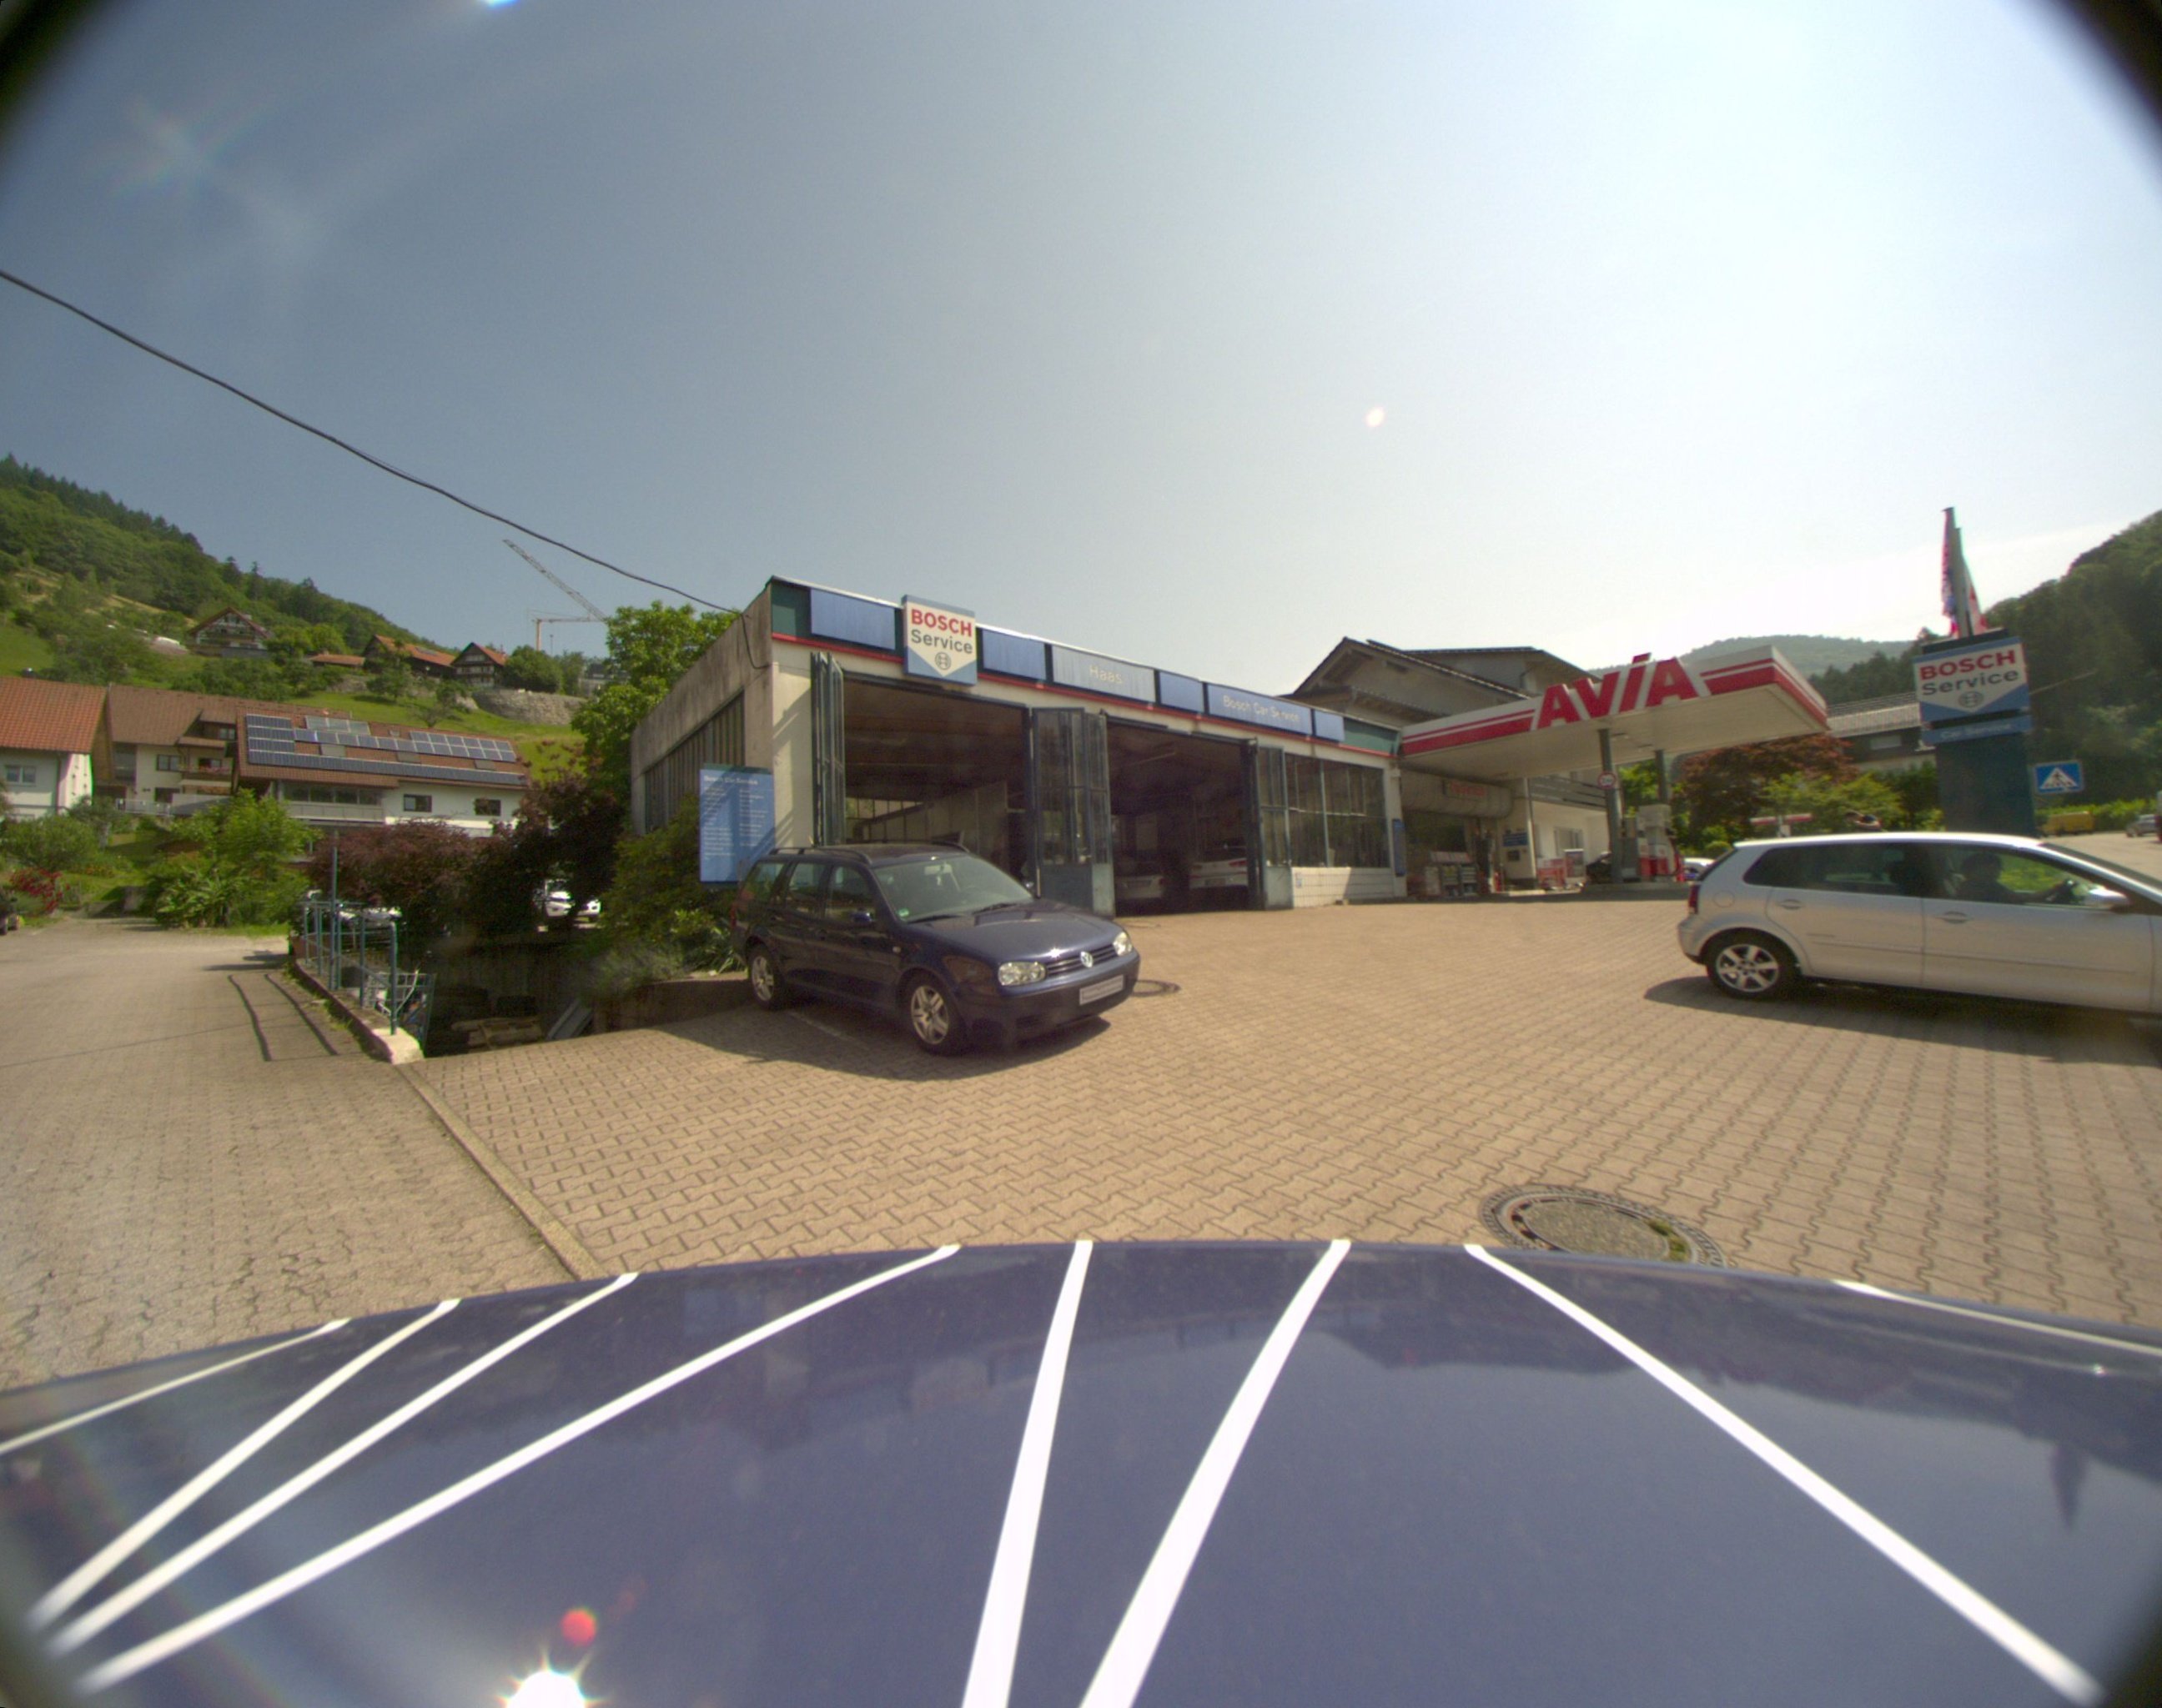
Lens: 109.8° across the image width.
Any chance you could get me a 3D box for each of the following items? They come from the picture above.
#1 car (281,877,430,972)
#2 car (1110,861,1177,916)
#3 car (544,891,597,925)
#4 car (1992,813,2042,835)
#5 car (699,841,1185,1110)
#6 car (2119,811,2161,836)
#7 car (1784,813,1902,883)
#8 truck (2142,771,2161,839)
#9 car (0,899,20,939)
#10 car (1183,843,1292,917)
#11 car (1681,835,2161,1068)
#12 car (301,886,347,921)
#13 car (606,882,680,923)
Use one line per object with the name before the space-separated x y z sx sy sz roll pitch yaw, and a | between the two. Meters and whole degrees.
car | -15.674 1.367 16.312 4.864 1.635 2.004 -2 1 43
car | 1.853 1.015 21.674 1.546 1.397 3.483 -3 -4 9
car | -21.098 2.186 31.355 1.471 1.251 3.379 0 -1 -40
car | 82.414 -2.651 66.987 1.861 1.767 3.710 -2 1 36
car | -1.444 0.752 6.602 4.319 1.536 1.803 -1 2 42
car | 70.761 -2.052 50.418 3.605 1.565 1.783 -3 1 -44
car | 19.080 -0.187 18.983 3.918 1.568 1.693 -3 1 -39
truck | 60.263 -2.755 41.173 7.787 3.560 2.646 -3 -1 -39
car | -32.884 1.923 22.725 2.856 1.057 1.115 0 -2 40
car | 4.212 0.610 19.969 1.602 1.678 3.937 -2 1 30
car | 7.237 0.622 5.912 1.598 1.474 3.747 -3 2 -37
car | -33.789 2.179 33.900 3.205 1.363 1.347 -2 1 45
car | -18.832 2.029 32.625 3.900 1.546 1.683 -2 1 44
